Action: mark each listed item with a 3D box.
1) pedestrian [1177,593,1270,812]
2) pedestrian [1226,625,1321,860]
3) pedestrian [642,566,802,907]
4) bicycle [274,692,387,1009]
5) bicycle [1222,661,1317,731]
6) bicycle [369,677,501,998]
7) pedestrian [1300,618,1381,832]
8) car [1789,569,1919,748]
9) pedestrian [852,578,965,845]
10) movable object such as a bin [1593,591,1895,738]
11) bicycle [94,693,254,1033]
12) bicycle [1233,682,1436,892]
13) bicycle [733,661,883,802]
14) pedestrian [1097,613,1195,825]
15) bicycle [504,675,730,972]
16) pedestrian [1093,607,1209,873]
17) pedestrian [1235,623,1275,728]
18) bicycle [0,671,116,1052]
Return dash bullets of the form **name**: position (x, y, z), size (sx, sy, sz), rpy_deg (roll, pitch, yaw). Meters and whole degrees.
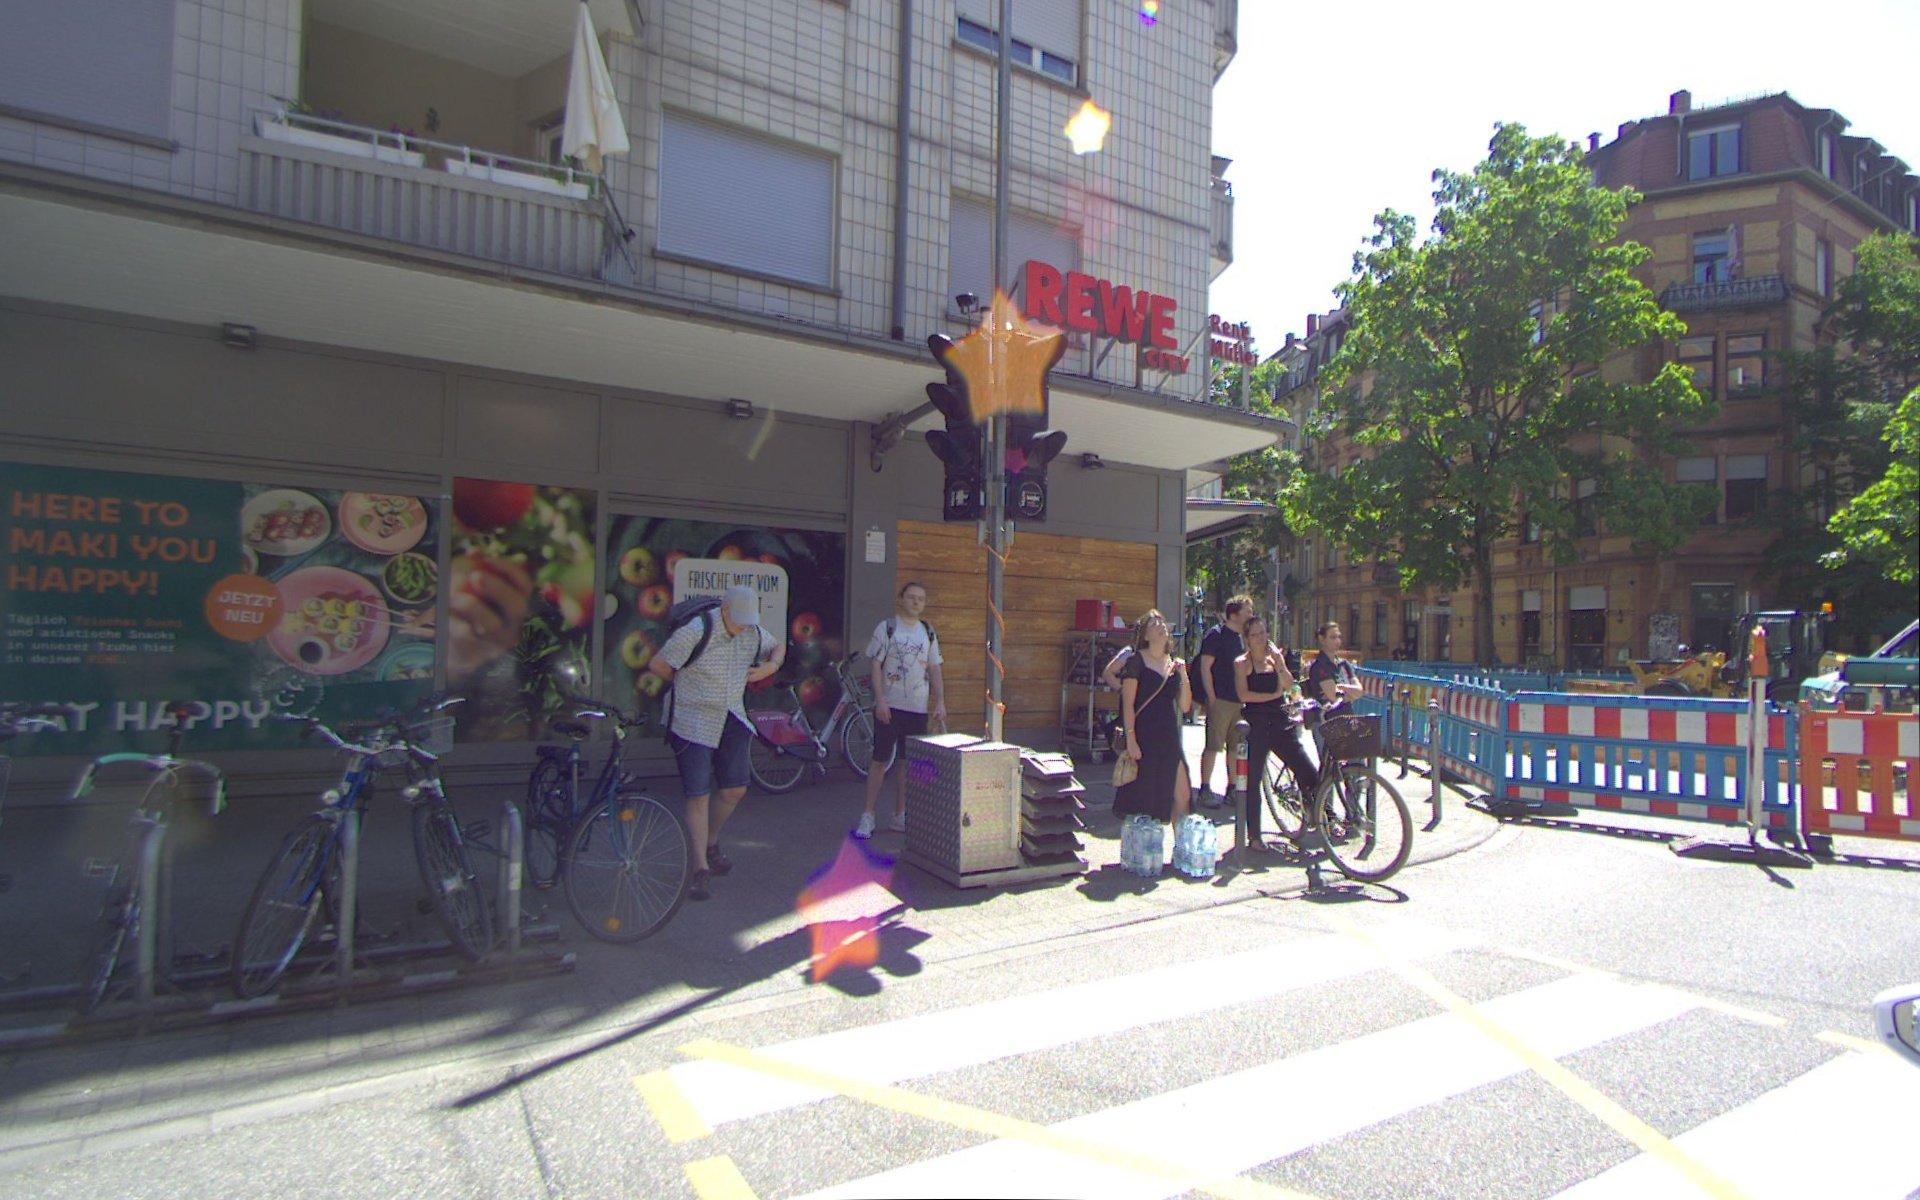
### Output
- **pedestrian**: position (2.326, 0.883, 8.867), size (0.593, 1.843, 0.506), rpy_deg (3, -2, -33)
- **pedestrian**: position (2.203, 0.978, 7.092), size (0.450, 1.586, 0.497), rpy_deg (2, 0, -4)
- **pedestrian**: position (-1.337, 0.719, 5.627), size (0.626, 1.749, 0.652), rpy_deg (3, -3, -35)
- **bicycle**: position (-2.824, 1.006, 4.469), size (0.332, 1.049, 1.438), rpy_deg (3, 0, -34)
- **bicycle**: position (5.225, 1.600, 17.012), size (1.552, 1.086, 0.341), rpy_deg (-1, -3, 43)
- **bicycle**: position (-2.473, 0.988, 4.665), size (0.332, 1.132, 1.509), rpy_deg (3, 0, -34)
- **pedestrian**: position (3.026, 0.971, 7.991), size (0.470, 1.639, 0.387), rpy_deg (3, -2, -33)
- **car**: position (16.747, 0.970, 14.779), size (2.351, 2.788, 6.592), rpy_deg (3, -1, -29)
- **pedestrian**: position (-0.370, 0.766, 7.154), size (0.593, 1.793, 0.506), rpy_deg (3, -2, -33)
- **movable object such as a bin**: position (16.034, 1.207, 20.790), size (1.934, 2.694, 4.517), rpy_deg (3, -1, -33)
- **bicycle**: position (-3.268, 0.991, 4.249), size (0.394, 1.044, 1.484), rpy_deg (3, 0, -34)
- **bicycle**: position (2.509, 1.202, 6.959), size (0.459, 1.134, 1.808), rpy_deg (2, -1, -9)
- **bicycle**: position (-1.294, 1.102, 8.755), size (0.317, 1.100, 1.426), rpy_deg (0, -1, 40)
- **pedestrian**: position (1.525, 0.945, 8.243), size (0.593, 1.654, 0.506), rpy_deg (3, -2, -33)
- **bicycle**: position (-1.842, 1.028, 5.213), size (0.572, 1.137, 1.785), rpy_deg (3, -1, -36)
- **pedestrian**: position (1.261, 0.890, 6.639), size (0.506, 1.654, 0.538), rpy_deg (3, -2, -33)
- **pedestrian**: position (4.962, 1.260, 16.923), size (0.578, 1.737, 0.391), rpy_deg (1, -2, 9)
- **bicycle**: position (-3.763, 0.914, 3.916), size (0.521, 1.154, 1.573), rpy_deg (3, 0, -34)
